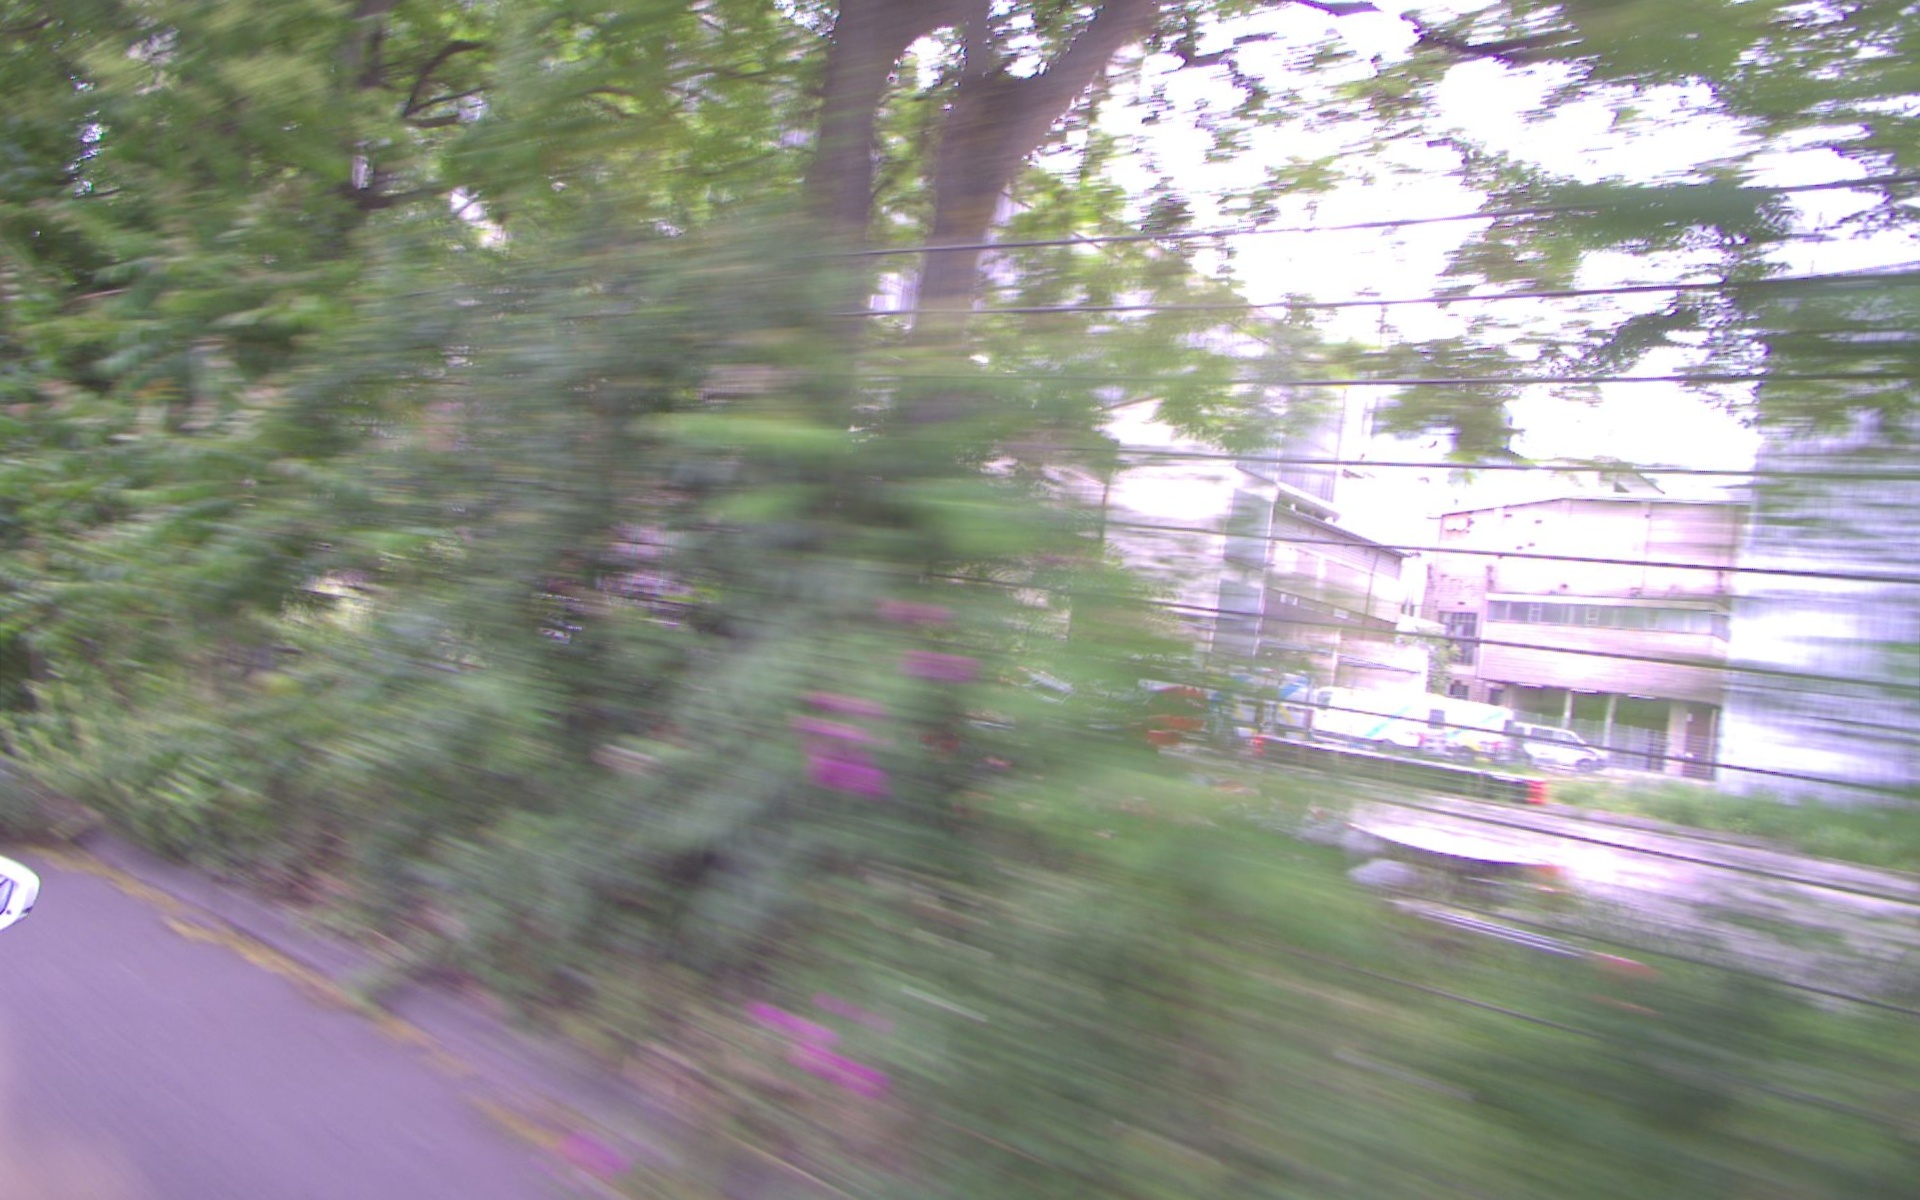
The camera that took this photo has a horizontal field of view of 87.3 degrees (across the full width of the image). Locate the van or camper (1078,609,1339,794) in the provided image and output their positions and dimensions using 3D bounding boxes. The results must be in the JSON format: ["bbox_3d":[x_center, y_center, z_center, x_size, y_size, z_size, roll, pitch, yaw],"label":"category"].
[{"bbox_3d":[8.840,3.397,33.724,5.392,4.580,11.844,5,-4,28],"label":"van or camper"}]
